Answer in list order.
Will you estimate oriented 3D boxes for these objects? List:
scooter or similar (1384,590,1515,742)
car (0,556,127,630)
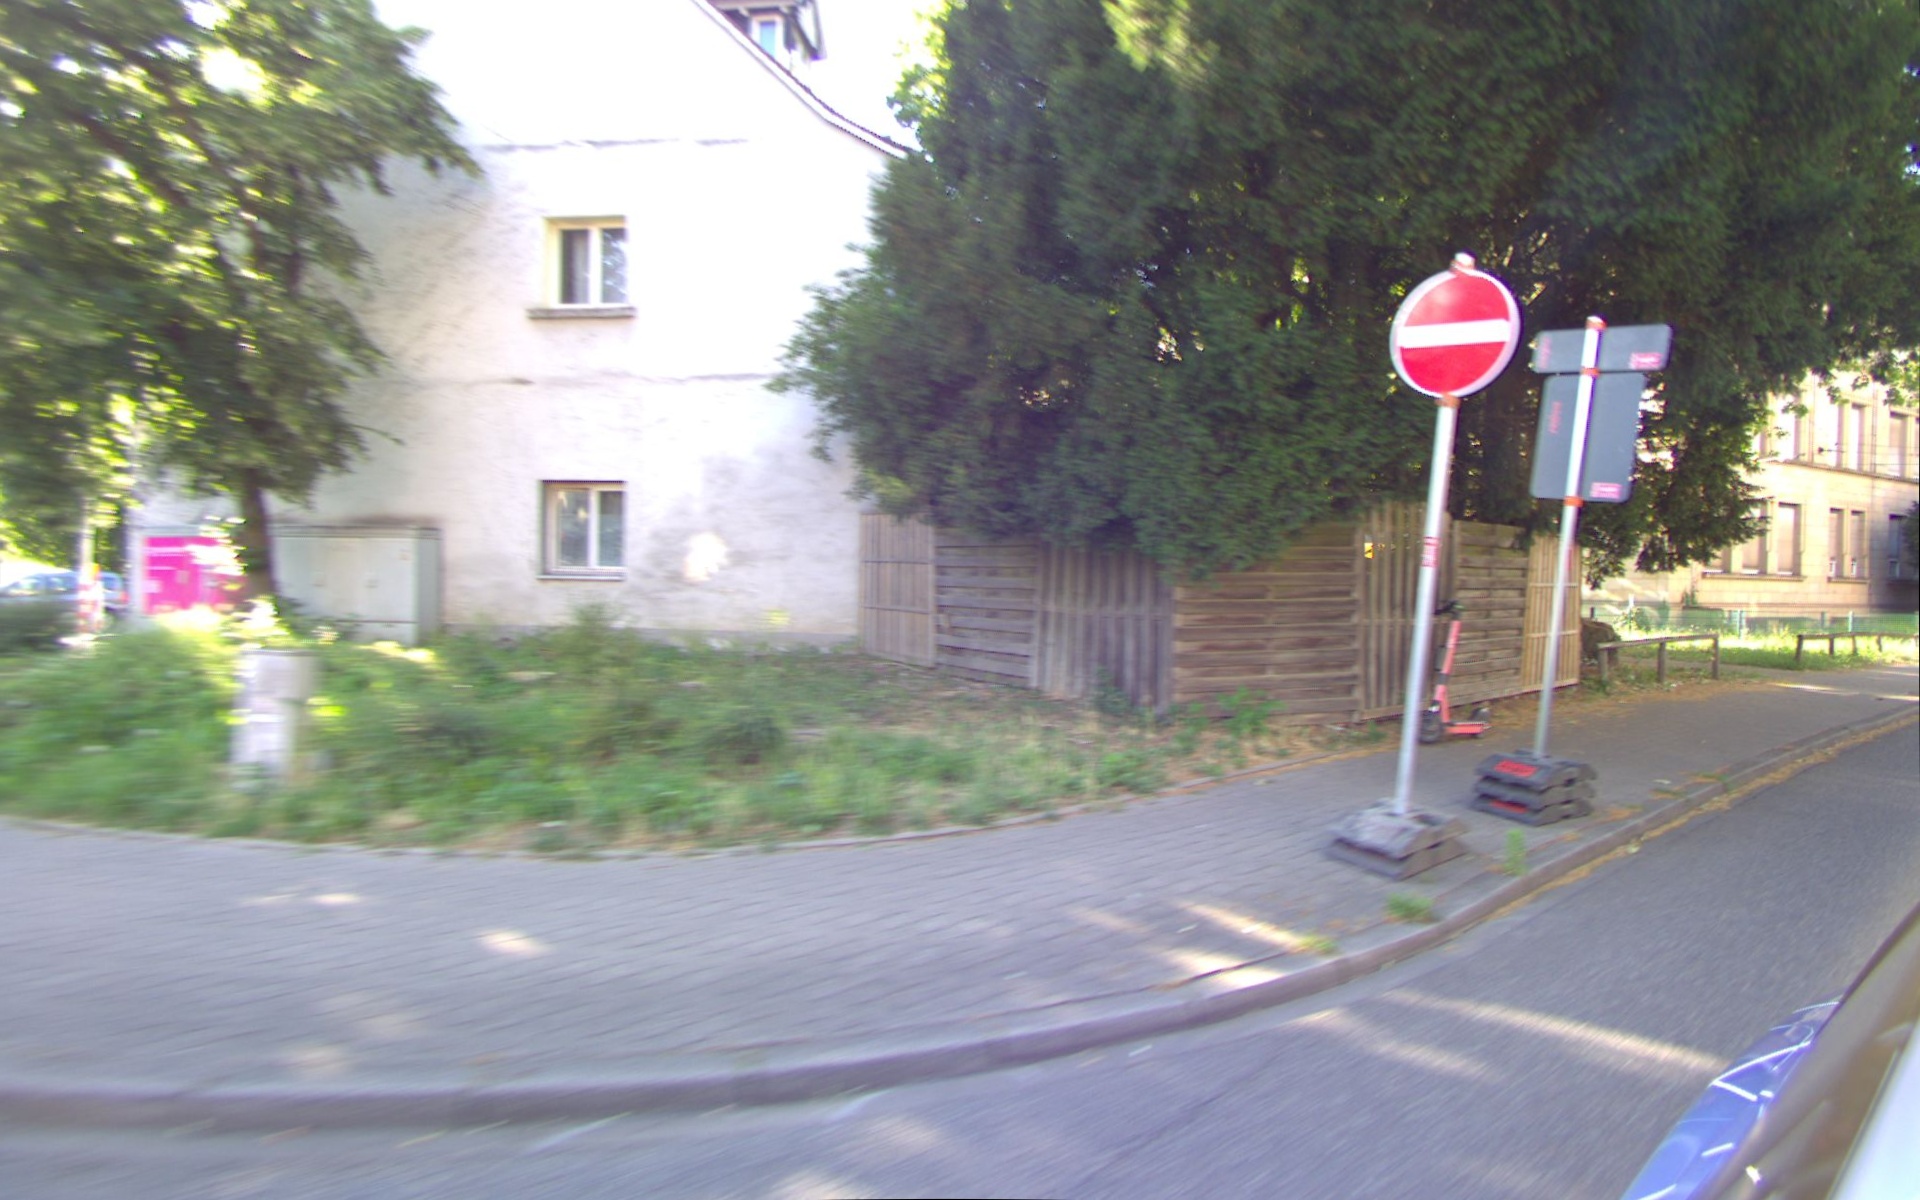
[{"bbox_3d":[4.250,0.538,8.770,1.235,1.216,0.439,0,4,-37],"label":"scooter or similar"},{"bbox_3d":[-24.103,-0.172,25.682,1.973,1.803,4.205,0,0,17],"label":"car"}]
